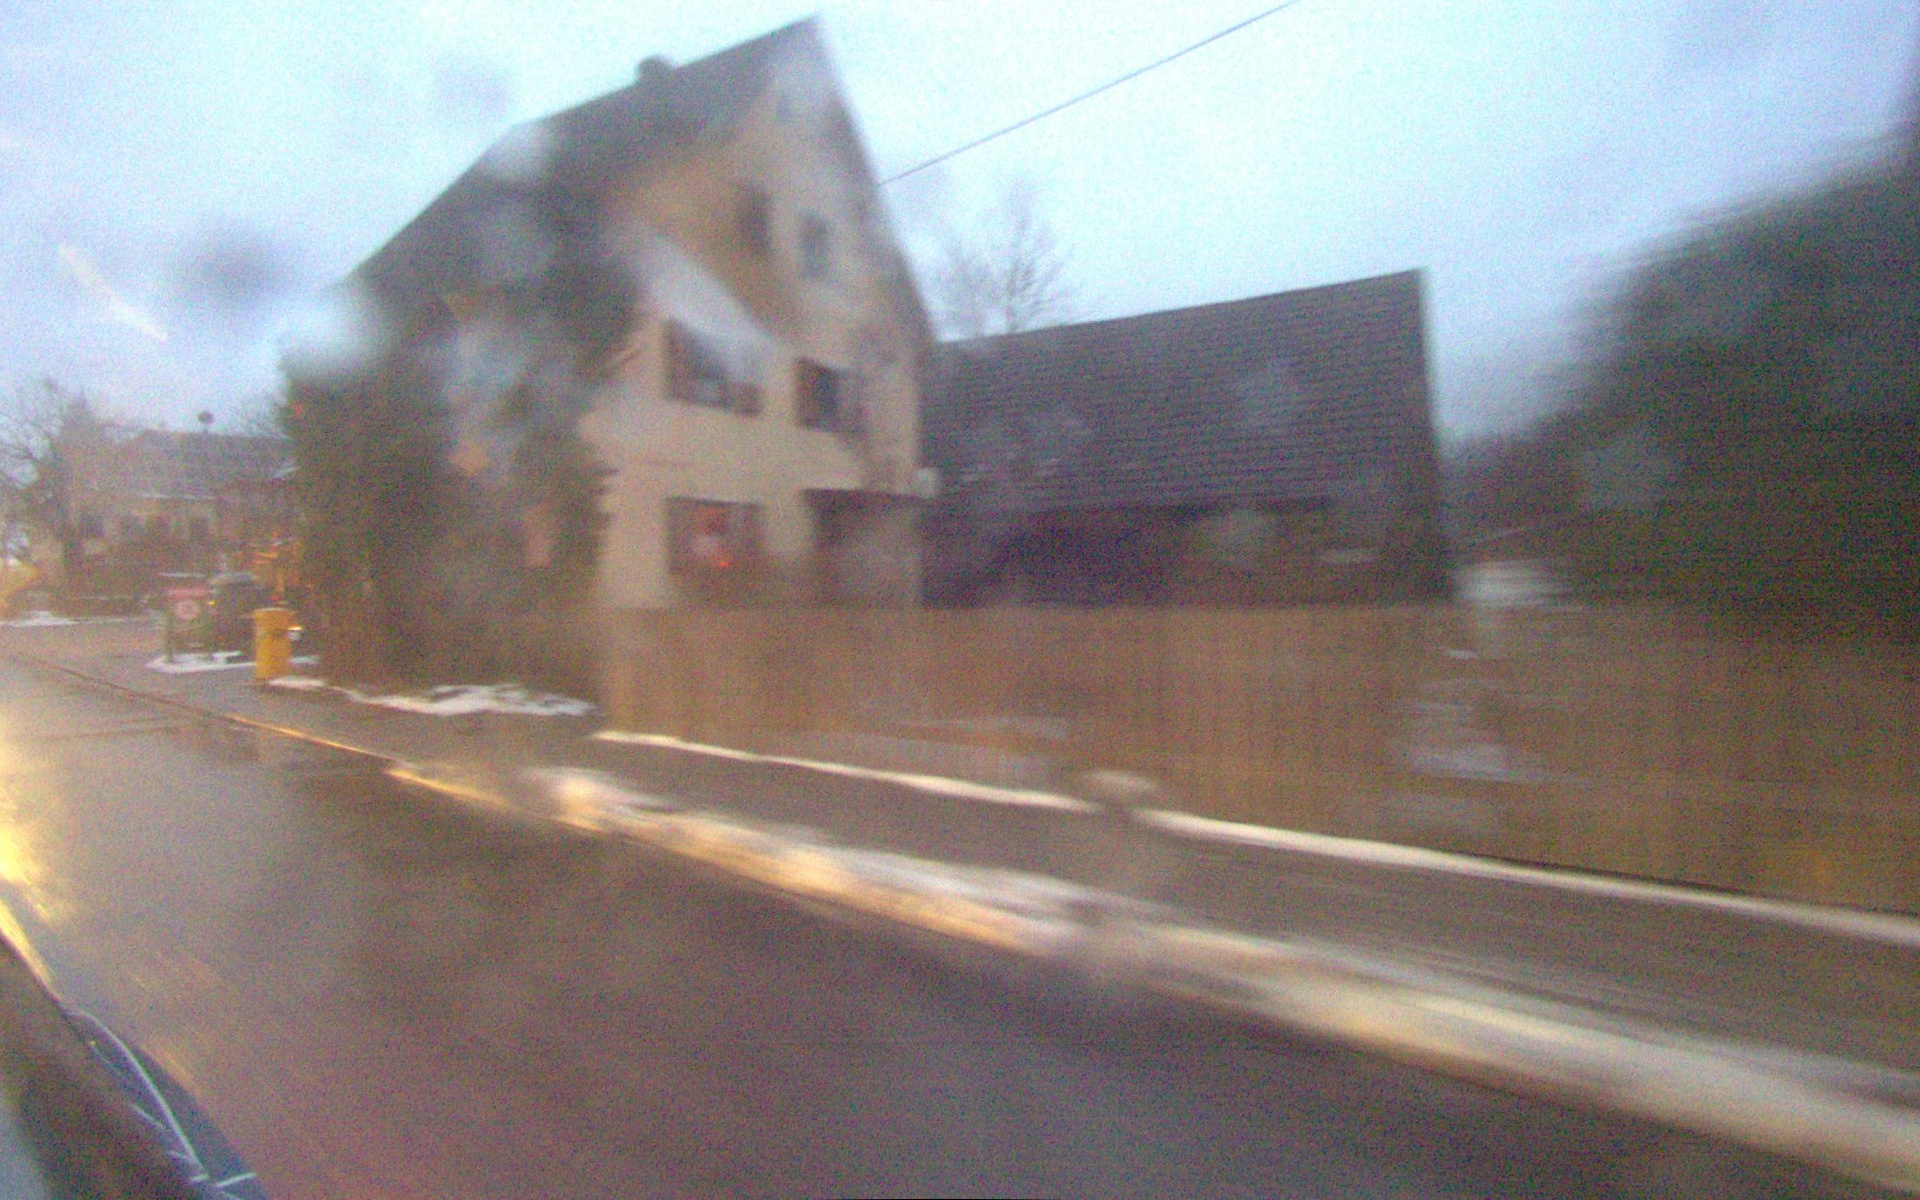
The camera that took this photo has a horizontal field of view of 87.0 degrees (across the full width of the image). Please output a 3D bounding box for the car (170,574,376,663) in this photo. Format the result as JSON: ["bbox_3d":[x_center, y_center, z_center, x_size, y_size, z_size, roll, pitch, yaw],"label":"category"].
[{"bbox_3d":[-17.057,0.399,25.277,1.757,2.029,3.946,0,1,41],"label":"car"}]

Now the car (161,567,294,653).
[{"bbox_3d":[-19.954,0.236,27.520,4.081,2.052,1.973,0,5,42],"label":"car"}]
